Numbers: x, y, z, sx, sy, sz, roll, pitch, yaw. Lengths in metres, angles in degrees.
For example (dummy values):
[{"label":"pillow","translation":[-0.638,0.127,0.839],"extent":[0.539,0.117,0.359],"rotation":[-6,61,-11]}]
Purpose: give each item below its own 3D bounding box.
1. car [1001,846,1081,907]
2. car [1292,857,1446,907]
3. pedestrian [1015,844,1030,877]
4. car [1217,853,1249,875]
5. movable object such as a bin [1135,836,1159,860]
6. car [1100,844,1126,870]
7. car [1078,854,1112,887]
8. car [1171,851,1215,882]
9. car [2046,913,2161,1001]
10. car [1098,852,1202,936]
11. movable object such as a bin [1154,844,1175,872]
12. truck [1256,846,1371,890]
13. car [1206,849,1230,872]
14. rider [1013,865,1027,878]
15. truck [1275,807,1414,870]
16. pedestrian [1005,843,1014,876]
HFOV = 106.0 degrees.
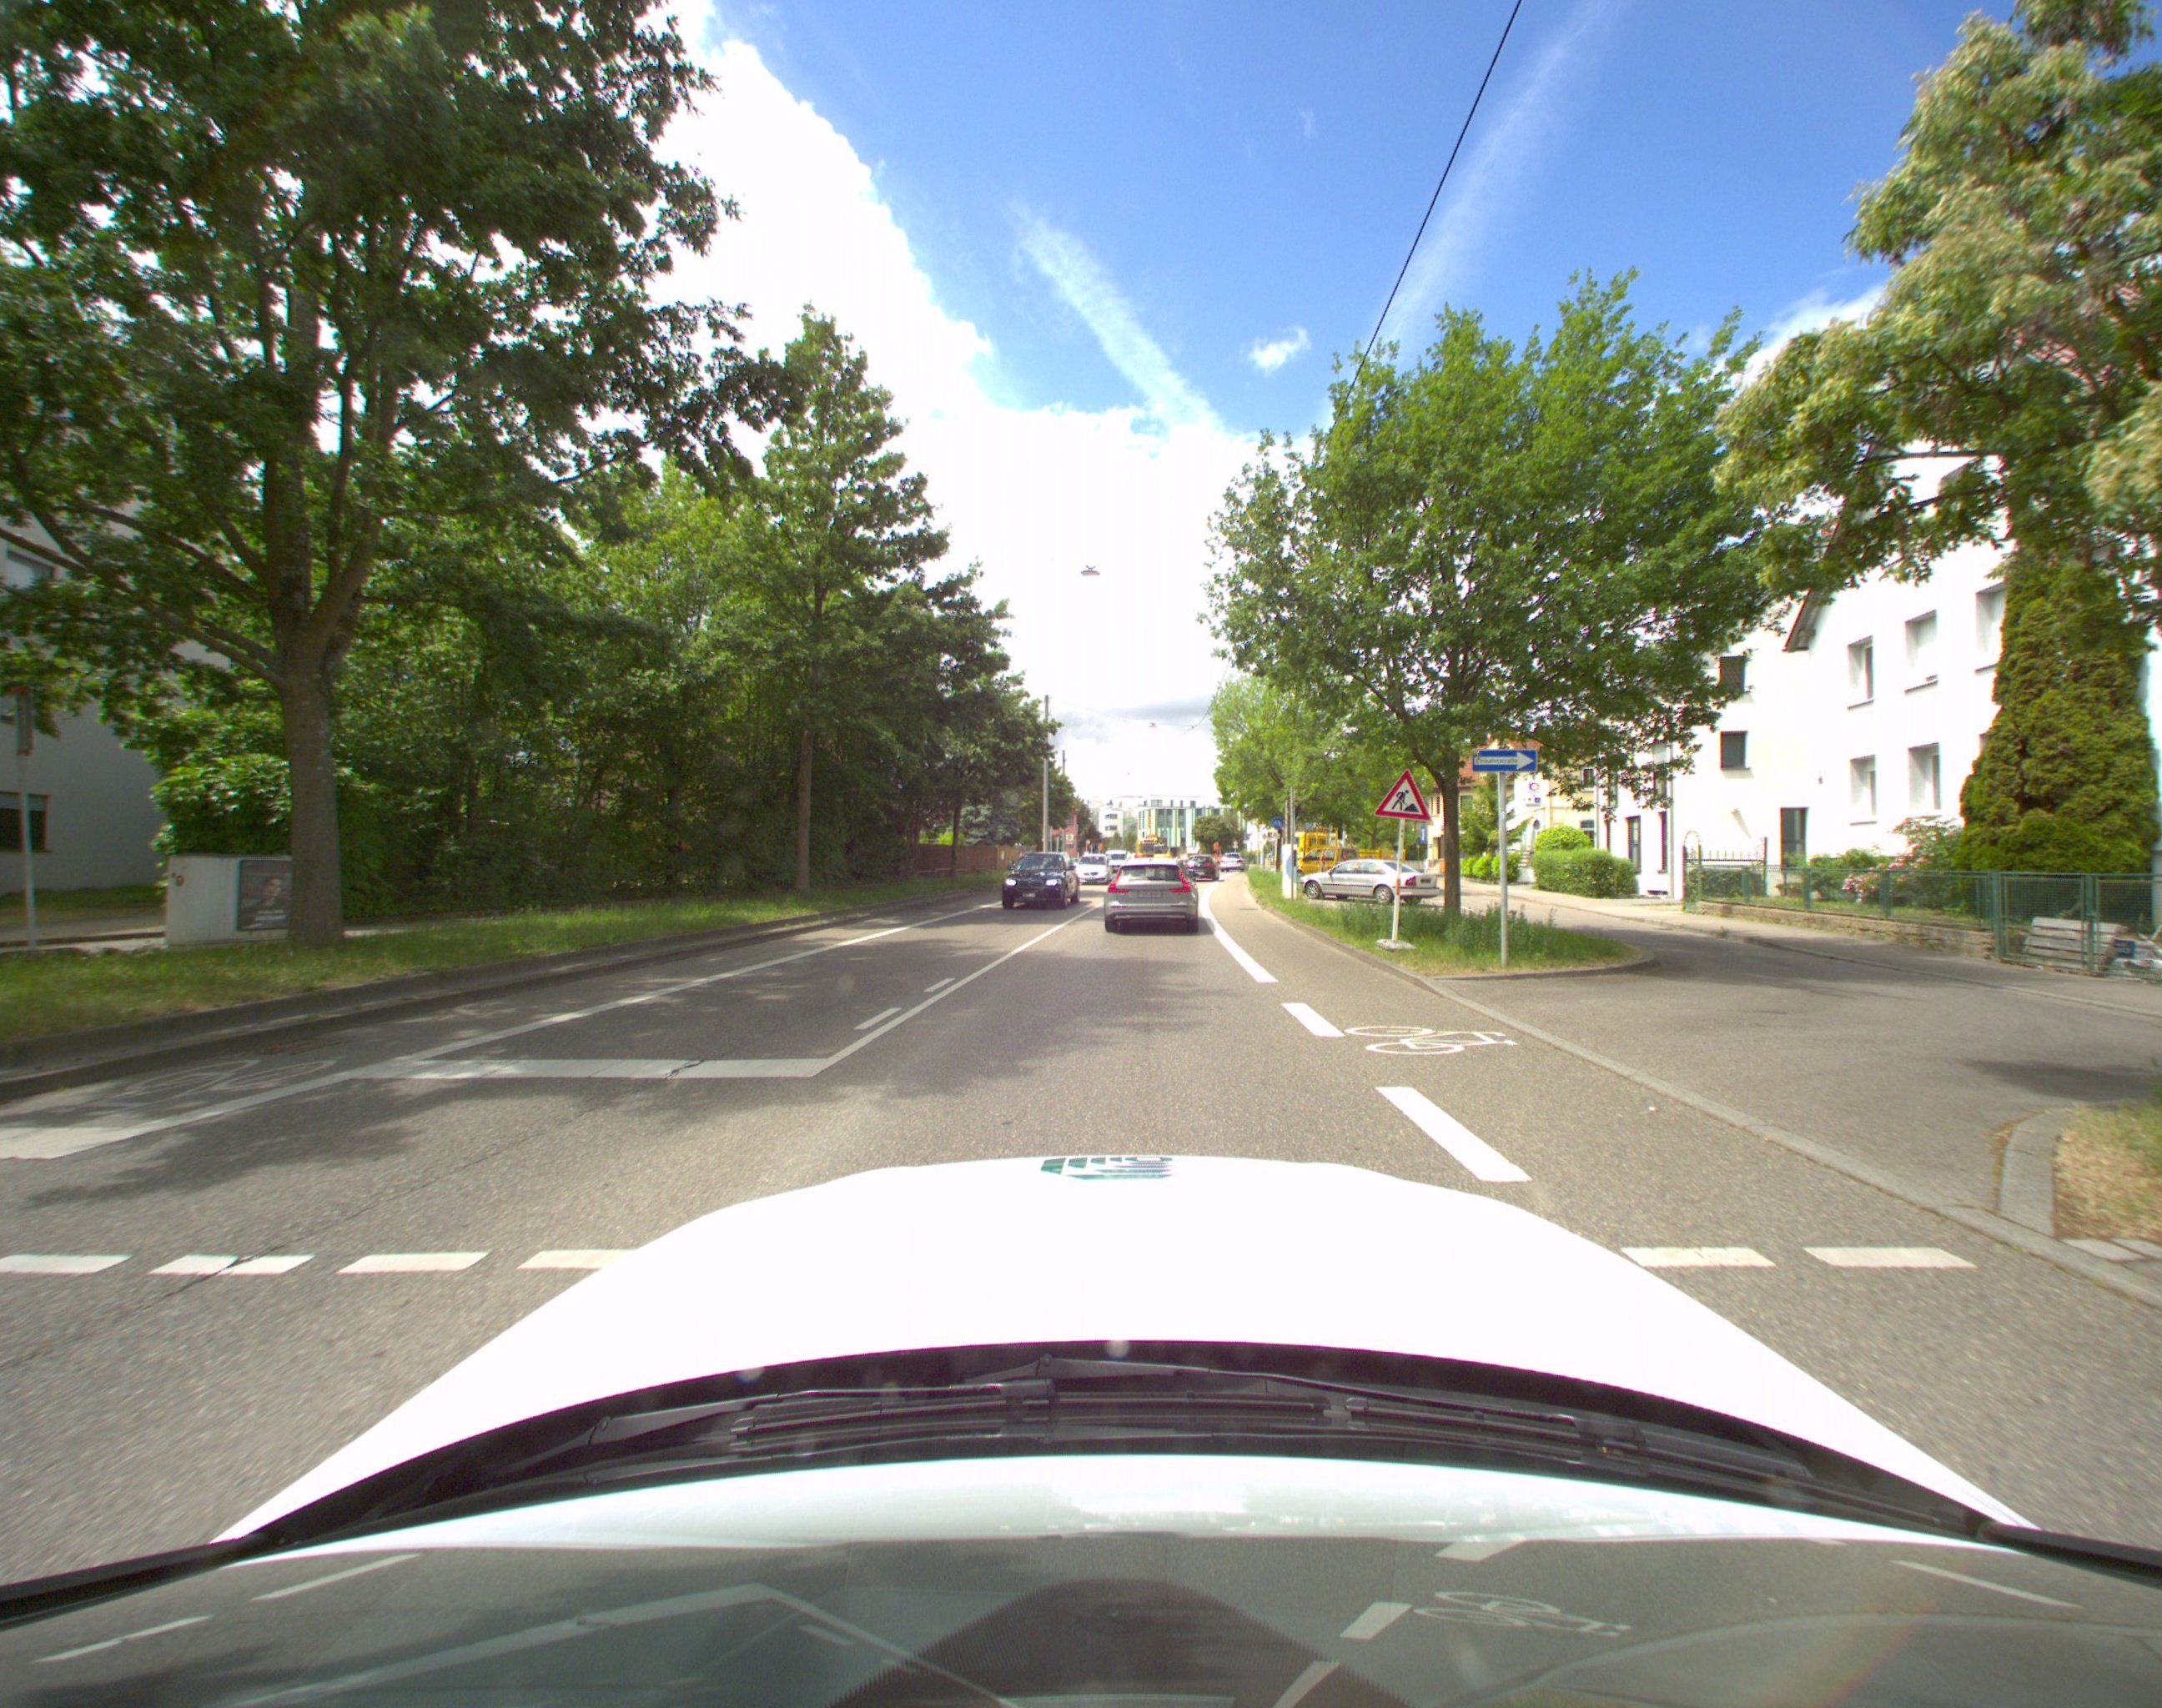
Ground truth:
[{"label":"car","translation":[-1.119,0.651,24.861],"extent":[1.871,1.687,4.253],"rotation":[-1,-1,5]},{"label":"car","translation":[9.502,0.878,27.237],"extent":[1.776,1.452,4.637],"rotation":[2,0,-37]},{"label":"pedestrian","translation":[-3.641,0.426,50.375],"extent":[0.712,2.014,0.772],"rotation":[3,-2,4]},{"label":"car","translation":[11.942,0.816,64.332],"extent":[2.092,1.510,4.005],"rotation":[3,-1,5]},{"label":"movable object such as a bin","translation":[8.513,-0.711,105.501],"extent":[2.304,2.990,6.422],"rotation":[0,0,-2]},{"label":"car","translation":[2.508,0.279,63.751],"extent":[1.840,1.875,4.597],"rotation":[4,-1,3]},{"label":"car","translation":[0.751,0.882,42.867],"extent":[1.702,1.618,4.001],"rotation":[0,-1,2]},{"label":"car","translation":[6.061,0.689,44.280],"extent":[1.657,1.508,3.698],"rotation":[3,-1,-3]},{"label":"car","translation":[15.283,1.455,10.728],"extent":[1.451,1.125,3.888],"rotation":[2,-1,17]},{"label":"car","translation":[1.486,0.773,17.310],"extent":[1.918,1.540,4.006],"rotation":[-1,-1,5]},{"label":"movable object such as a bin","translation":[8.375,0.387,81.965],"extent":[2.024,2.643,5.950],"rotation":[0,0,6]},{"label":"truck","translation":[11.917,0.689,42.079],"extent":[2.008,2.014,5.615],"rotation":[4,-2,-36]},{"label":"car","translation":[13.474,0.662,79.719],"extent":[1.980,2.014,4.014],"rotation":[3,-1,13]},{"label":"rider","translation":[-3.695,1.060,49.543],"extent":[0.725,0.735,0.691],"rotation":[3,-2,4]},{"label":"truck","translation":[14.098,-0.803,44.037],"extent":[2.783,3.008,6.629],"rotation":[4,-2,-39]},{"label":"pedestrian","translation":[-4.412,0.370,50.241],"extent":[0.400,2.014,0.415],"rotation":[3,-2,8]}]
